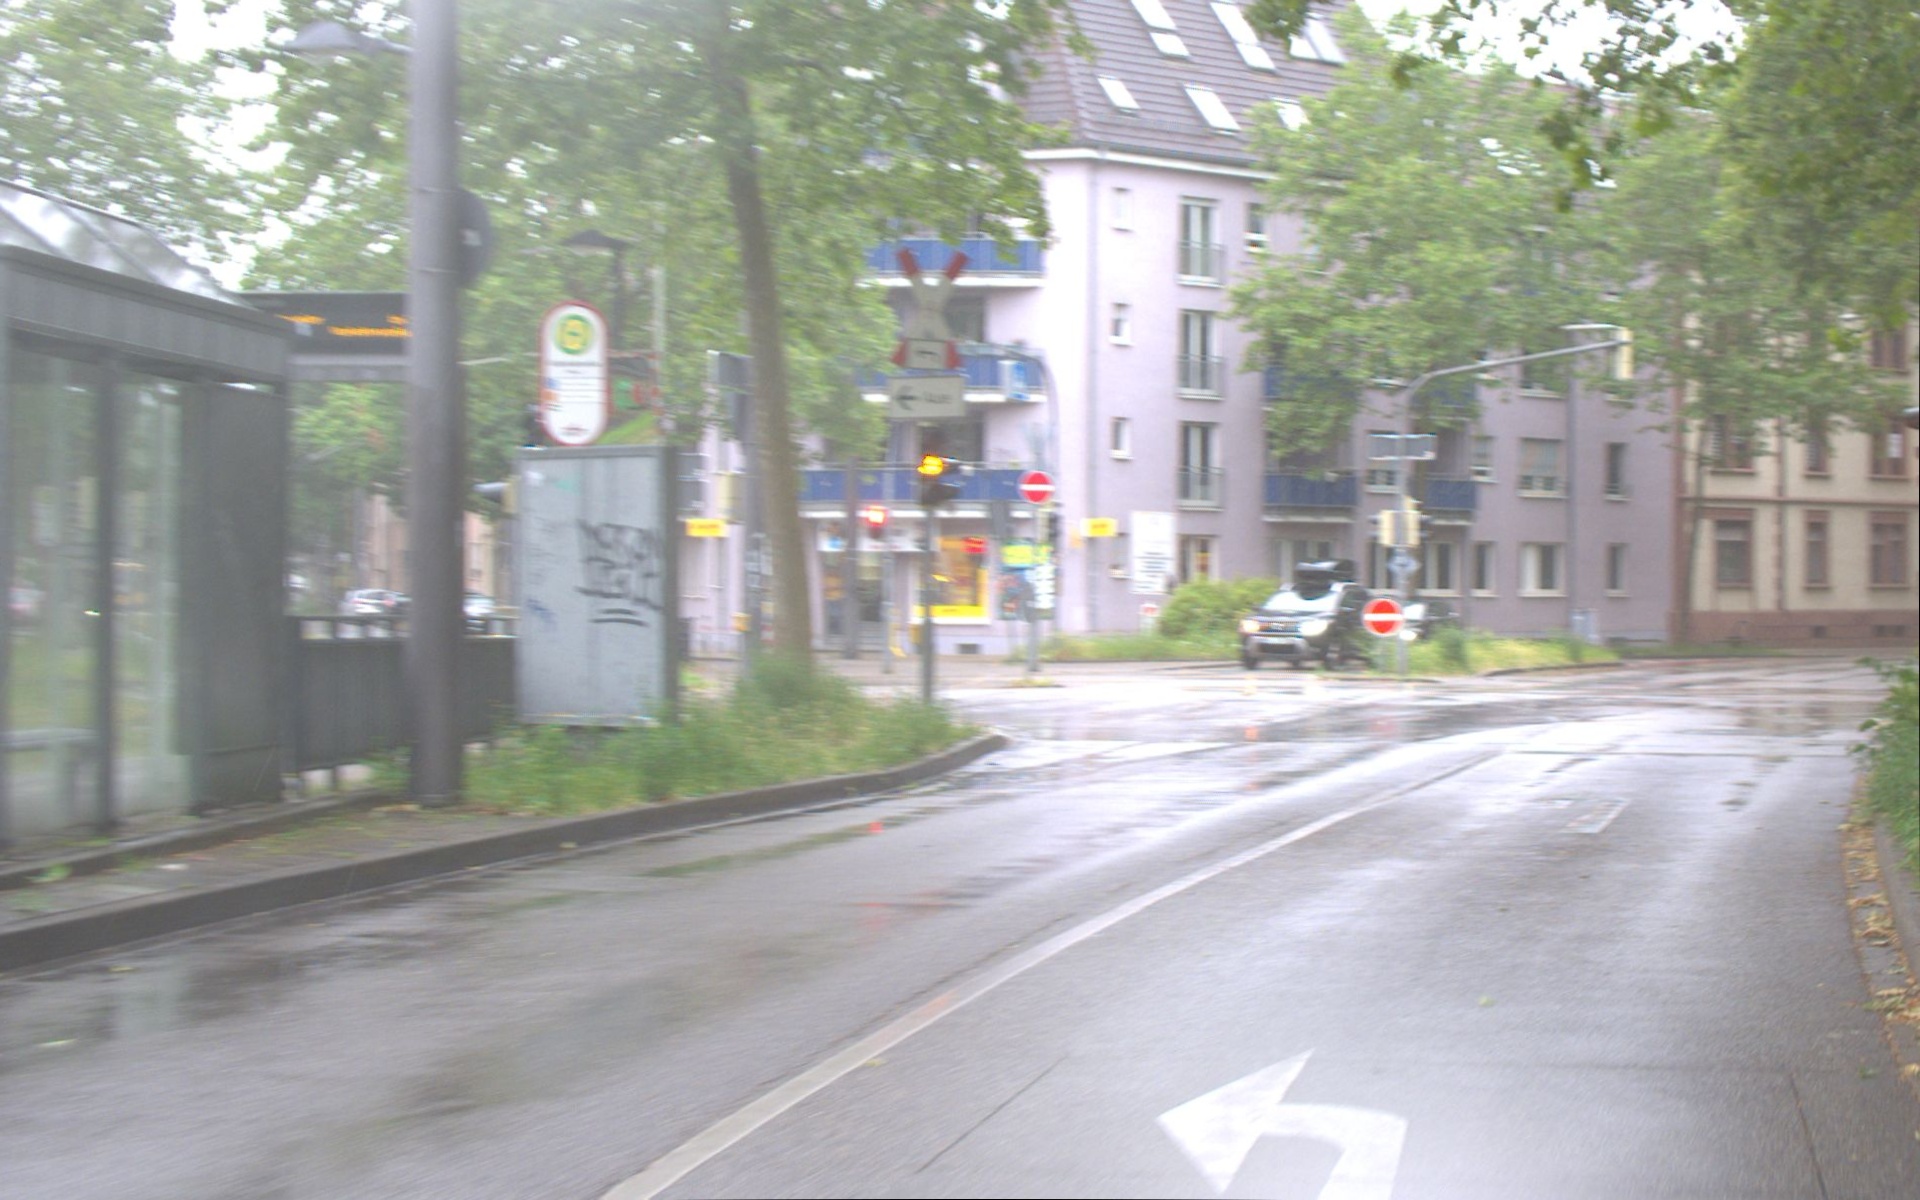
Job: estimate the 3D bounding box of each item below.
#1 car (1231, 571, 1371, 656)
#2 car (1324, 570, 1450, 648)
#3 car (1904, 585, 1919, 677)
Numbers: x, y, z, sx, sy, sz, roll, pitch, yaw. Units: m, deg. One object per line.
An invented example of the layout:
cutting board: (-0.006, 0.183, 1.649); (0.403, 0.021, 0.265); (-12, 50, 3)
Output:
car: (6.576, 0.240, 66.050); (1.727, 1.547, 3.556); (-1, 0, 22)
car: (8.927, 0.174, 71.678); (1.727, 1.547, 3.556); (-1, 0, 22)
car: (17.548, 0.475, 56.889); (3.483, 1.518, 1.518); (-1, 0, 25)
